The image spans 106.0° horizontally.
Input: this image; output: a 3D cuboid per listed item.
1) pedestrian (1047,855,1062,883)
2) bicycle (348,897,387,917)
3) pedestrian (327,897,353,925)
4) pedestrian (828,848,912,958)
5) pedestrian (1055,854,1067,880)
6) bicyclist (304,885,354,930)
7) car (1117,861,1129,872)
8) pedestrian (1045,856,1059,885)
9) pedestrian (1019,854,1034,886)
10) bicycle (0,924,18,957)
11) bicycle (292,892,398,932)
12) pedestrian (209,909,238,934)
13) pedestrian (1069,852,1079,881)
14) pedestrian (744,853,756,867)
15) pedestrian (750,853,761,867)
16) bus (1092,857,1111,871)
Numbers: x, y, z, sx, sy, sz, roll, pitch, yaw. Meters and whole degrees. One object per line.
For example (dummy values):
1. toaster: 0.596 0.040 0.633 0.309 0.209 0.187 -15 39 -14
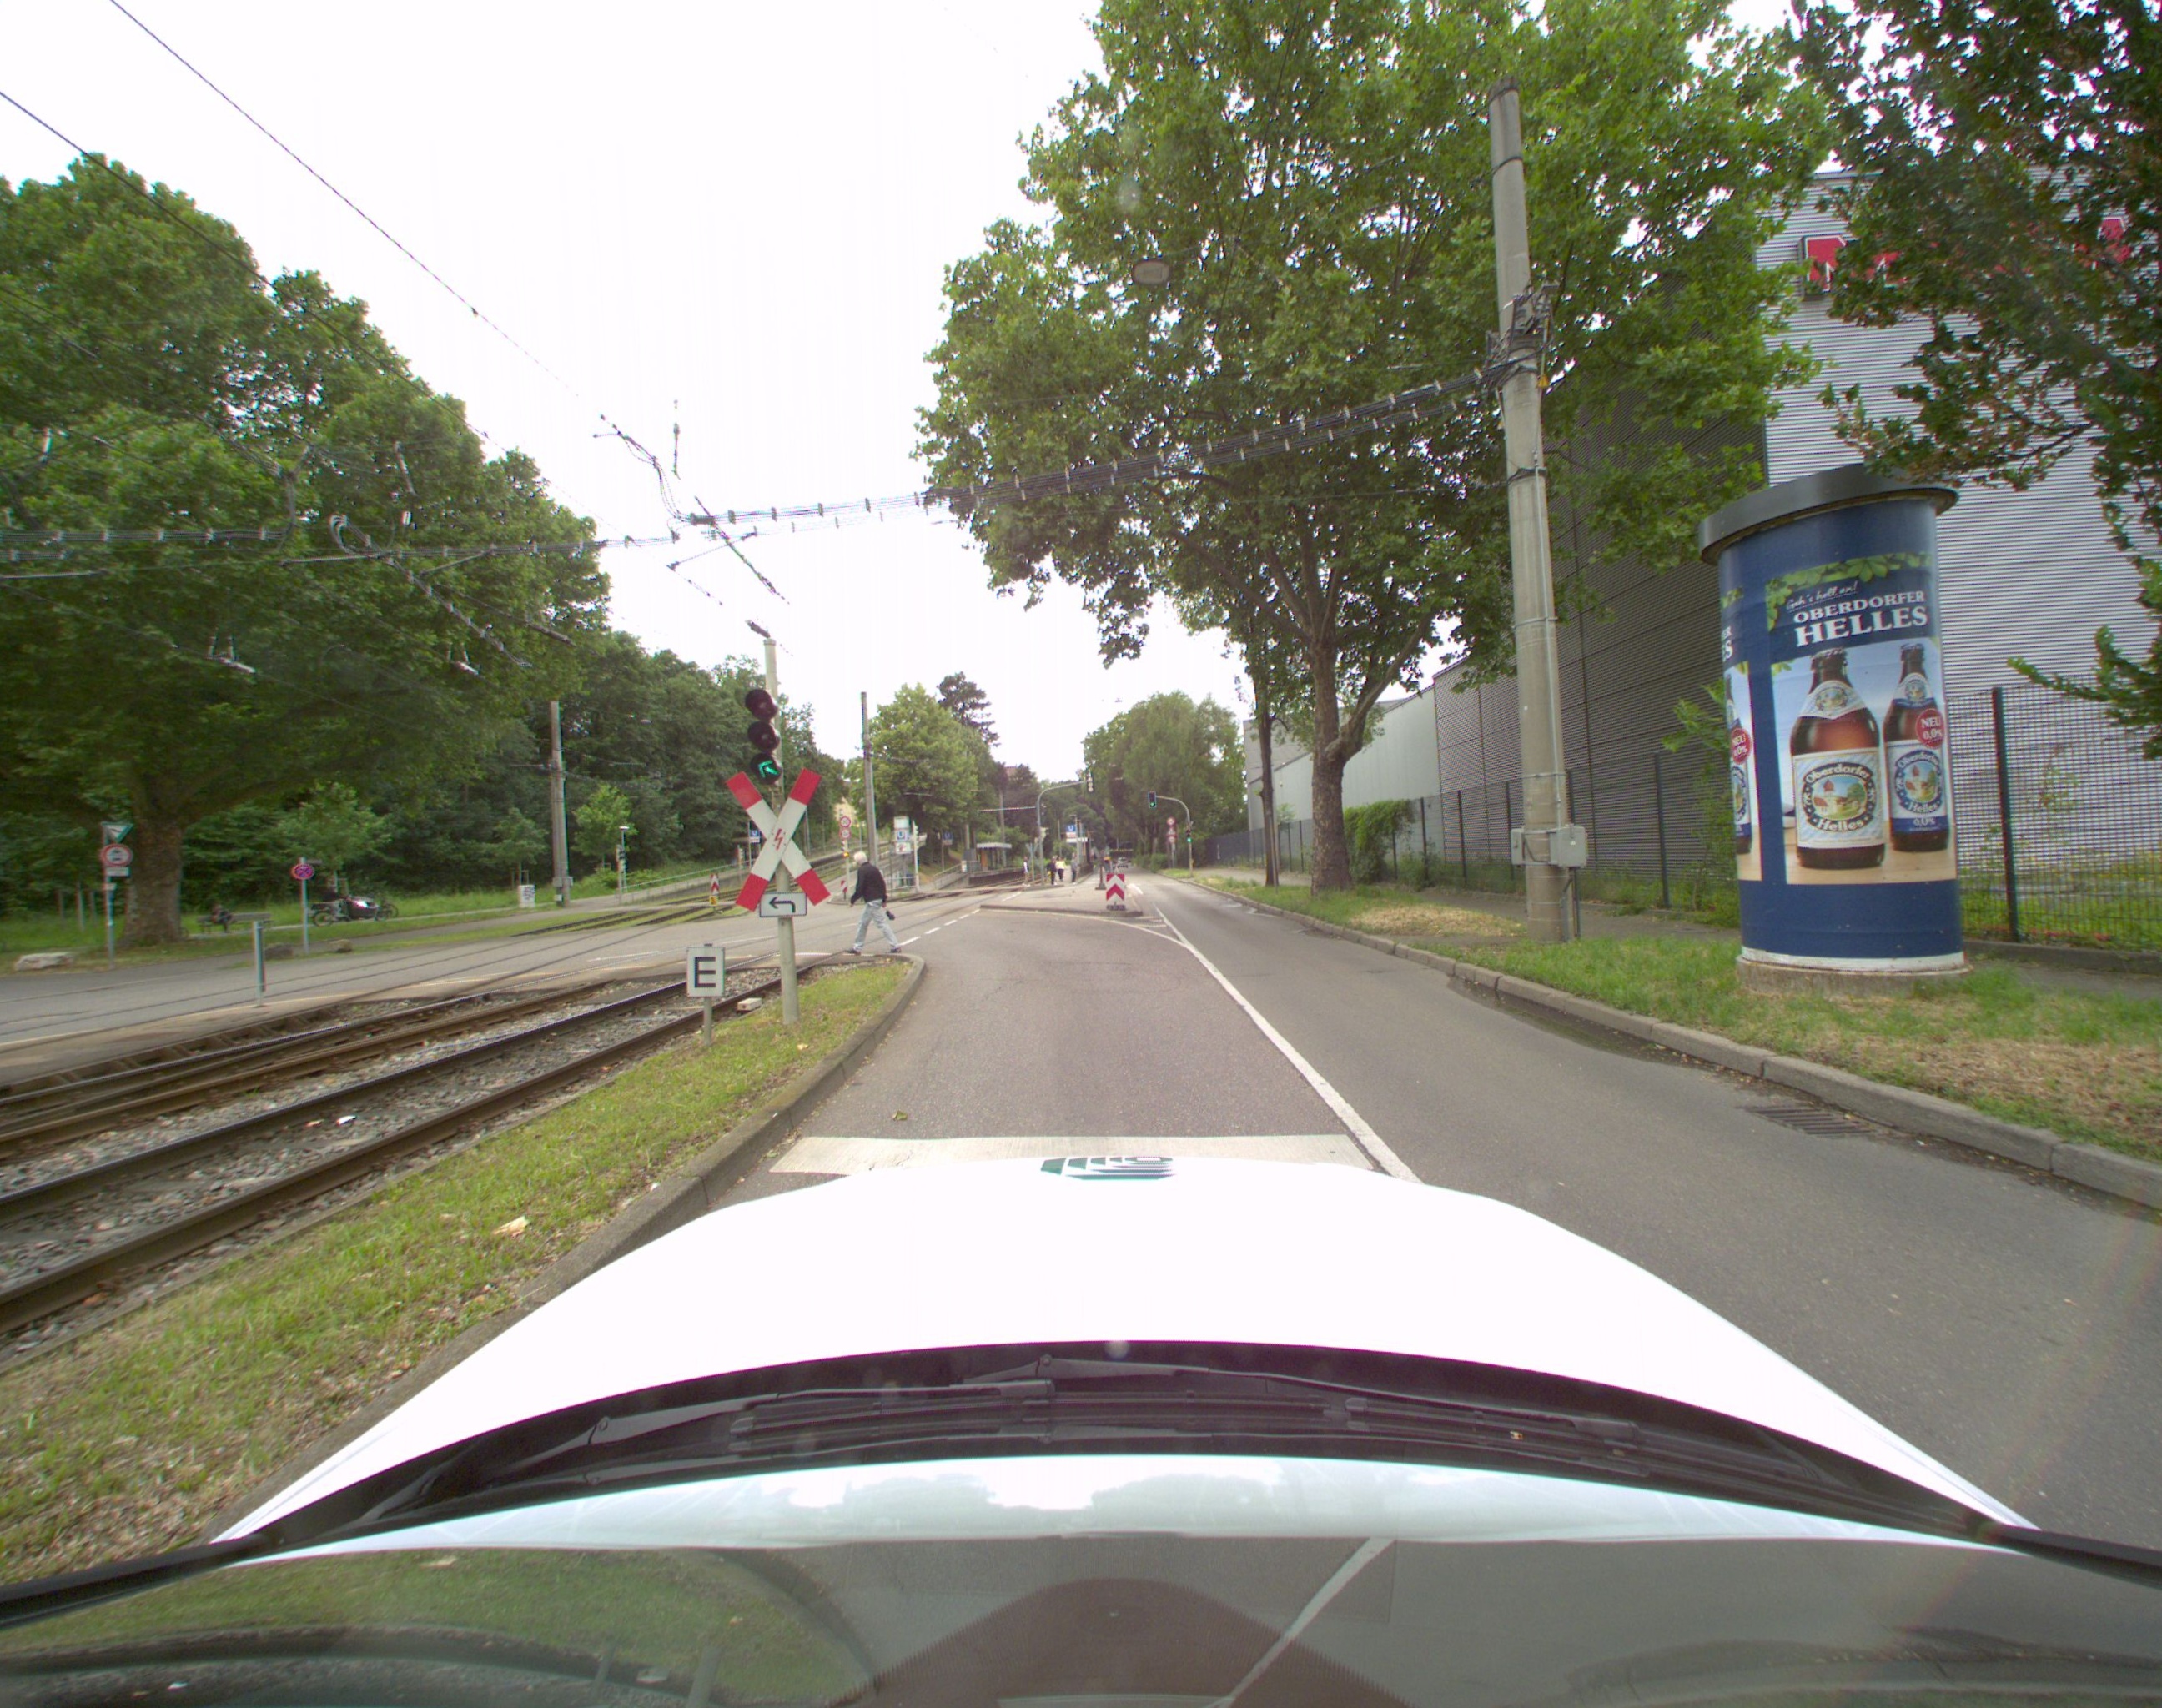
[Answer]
1. pedestrian: -1.605 0.925 49.665 0.674 1.665 0.741 -1 -1 17
2. bicycle: -33.490 2.472 38.226 1.726 0.885 0.625 -1 -1 21
3. pedestrian: -33.771 2.606 37.111 0.574 1.235 0.676 -1 -1 15
4. pedestrian: -3.537 0.789 13.654 1.106 1.760 0.818 -1 -1 34
5. pedestrian: -1.308 0.865 53.270 0.735 1.665 0.679 0 -1 -9
6. bicyclist: -32.139 2.269 34.822 0.726 1.711 1.300 1 3 25
7. car: 6.736 2.013 131.085 1.737 1.598 4.002 0 1 2
8. pedestrian: -1.690 0.951 47.216 0.732 1.665 0.682 0 -1 3
9. pedestrian: -3.173 0.938 47.641 0.802 1.821 0.668 0 -1 -9
10. bicycle: -36.632 2.931 26.776 0.469 1.041 1.956 1 2 24
11. bicycle: -31.891 2.477 35.395 0.726 1.289 3.367 1 4 25
12. pedestrian: -35.175 2.765 33.412 0.526 0.989 0.623 -1 -1 17
13. pedestrian: -0.451 0.775 50.955 0.547 1.758 0.739 0 -1 6
14. pedestrian: -30.815 0.560 75.831 0.771 1.326 0.785 0 2 -6
15. pedestrian: -30.772 0.580 76.911 0.771 1.326 0.785 0 -1 -6
16. bus: 5.166 2.552 206.808 2.714 3.626 8.977 -1 -1 15
